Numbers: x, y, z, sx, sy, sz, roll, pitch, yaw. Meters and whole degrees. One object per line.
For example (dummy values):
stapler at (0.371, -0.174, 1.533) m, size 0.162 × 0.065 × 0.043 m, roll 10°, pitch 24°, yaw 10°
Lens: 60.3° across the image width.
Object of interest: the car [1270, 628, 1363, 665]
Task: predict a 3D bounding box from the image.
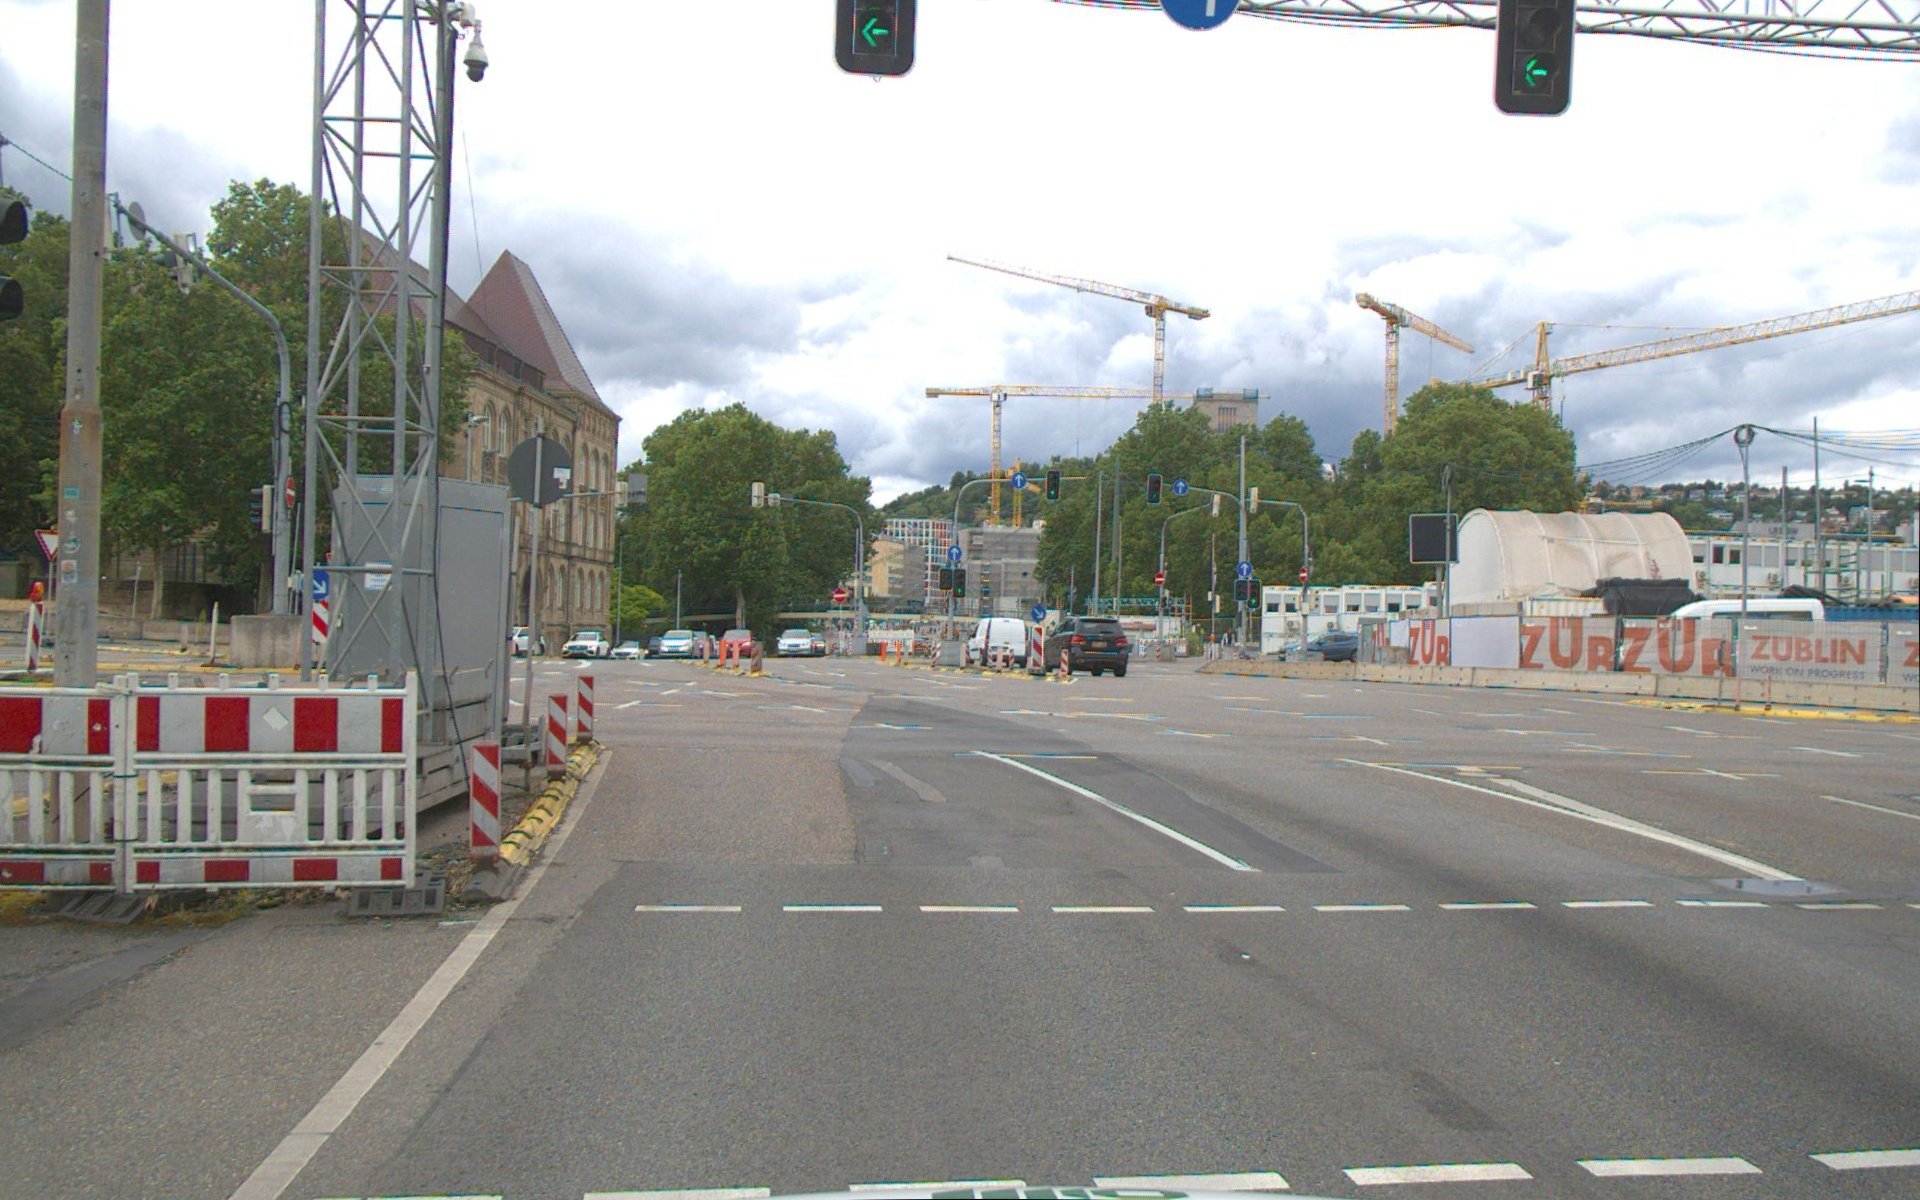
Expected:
car at (16.729, 2.167, 77.650) m, size 3.926 × 1.653 × 1.813 m, roll 1°, pitch -1°, yaw -19°

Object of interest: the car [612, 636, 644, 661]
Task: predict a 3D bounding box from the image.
car at (-20.653, 3.010, 102.988) m, size 1.644 × 1.423 × 3.678 m, roll 1°, pitch -1°, yaw -6°

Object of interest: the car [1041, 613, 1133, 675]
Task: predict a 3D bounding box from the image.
car at (3.764, 1.294, 49.877) m, size 1.798 × 1.776 × 4.245 m, roll 1°, pitch -1°, yaw -9°

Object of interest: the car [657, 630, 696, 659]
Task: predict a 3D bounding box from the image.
car at (-14.274, 2.231, 83.378) m, size 1.644 × 1.423 × 3.678 m, roll 1°, pitch -1°, yaw -6°

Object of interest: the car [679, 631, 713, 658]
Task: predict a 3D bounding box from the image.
car at (-14.358, 2.412, 90.013) m, size 1.644 × 1.423 × 3.678 m, roll 1°, pitch -1°, yaw -6°

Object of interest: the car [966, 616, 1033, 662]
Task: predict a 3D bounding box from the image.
car at (1.464, 1.428, 62.184) m, size 1.783 × 1.653 × 3.991 m, roll 1°, pitch -1°, yaw -10°

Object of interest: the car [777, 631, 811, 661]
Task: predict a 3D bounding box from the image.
car at (-8.310, 2.303, 82.719) m, size 1.644 × 1.423 × 3.678 m, roll 1°, pitch -1°, yaw -6°

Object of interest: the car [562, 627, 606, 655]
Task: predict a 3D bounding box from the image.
car at (-20.223, 2.191, 88.988) m, size 1.642 × 1.423 × 3.681 m, roll 1°, pitch -1°, yaw -2°

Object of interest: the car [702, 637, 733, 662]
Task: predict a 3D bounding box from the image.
car at (-14.559, 2.957, 99.452) m, size 1.644 × 1.423 × 3.678 m, roll 1°, pitch -1°, yaw -6°

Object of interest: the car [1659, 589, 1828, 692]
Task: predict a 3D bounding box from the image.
car at (21.382, 1.087, 45.275) m, size 3.902 × 2.708 × 1.683 m, roll 1°, pitch -1°, yaw 13°

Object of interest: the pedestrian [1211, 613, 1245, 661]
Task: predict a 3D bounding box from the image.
pedestrian at (11.682, 1.603, 72.127) m, size 1.075 × 2.049 × 1.181 m, roll 1°, pitch -1°, yaw -12°

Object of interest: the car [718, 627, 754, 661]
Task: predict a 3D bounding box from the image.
car at (-11.152, 2.169, 82.481) m, size 1.644 × 1.608 × 3.678 m, roll 1°, pitch -1°, yaw -6°

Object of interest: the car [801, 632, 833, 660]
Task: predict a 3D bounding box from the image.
car at (-7.766, 2.477, 89.768) m, size 1.644 × 1.423 × 3.678 m, roll 1°, pitch -1°, yaw -6°

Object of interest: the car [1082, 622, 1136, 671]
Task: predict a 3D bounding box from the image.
car at (5.417, 1.668, 60.311) m, size 1.642 × 1.732 × 3.374 m, roll 1°, pitch -1°, yaw 0°

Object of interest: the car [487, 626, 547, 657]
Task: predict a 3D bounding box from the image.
car at (-21.242, 1.986, 79.426) m, size 1.641 × 1.423 × 3.684 m, roll 1°, pitch -1°, yaw 4°

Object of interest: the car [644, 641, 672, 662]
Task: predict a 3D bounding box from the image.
car at (-21.283, 3.636, 116.578) m, size 1.644 × 1.423 × 3.678 m, roll 1°, pitch -1°, yaw -6°
